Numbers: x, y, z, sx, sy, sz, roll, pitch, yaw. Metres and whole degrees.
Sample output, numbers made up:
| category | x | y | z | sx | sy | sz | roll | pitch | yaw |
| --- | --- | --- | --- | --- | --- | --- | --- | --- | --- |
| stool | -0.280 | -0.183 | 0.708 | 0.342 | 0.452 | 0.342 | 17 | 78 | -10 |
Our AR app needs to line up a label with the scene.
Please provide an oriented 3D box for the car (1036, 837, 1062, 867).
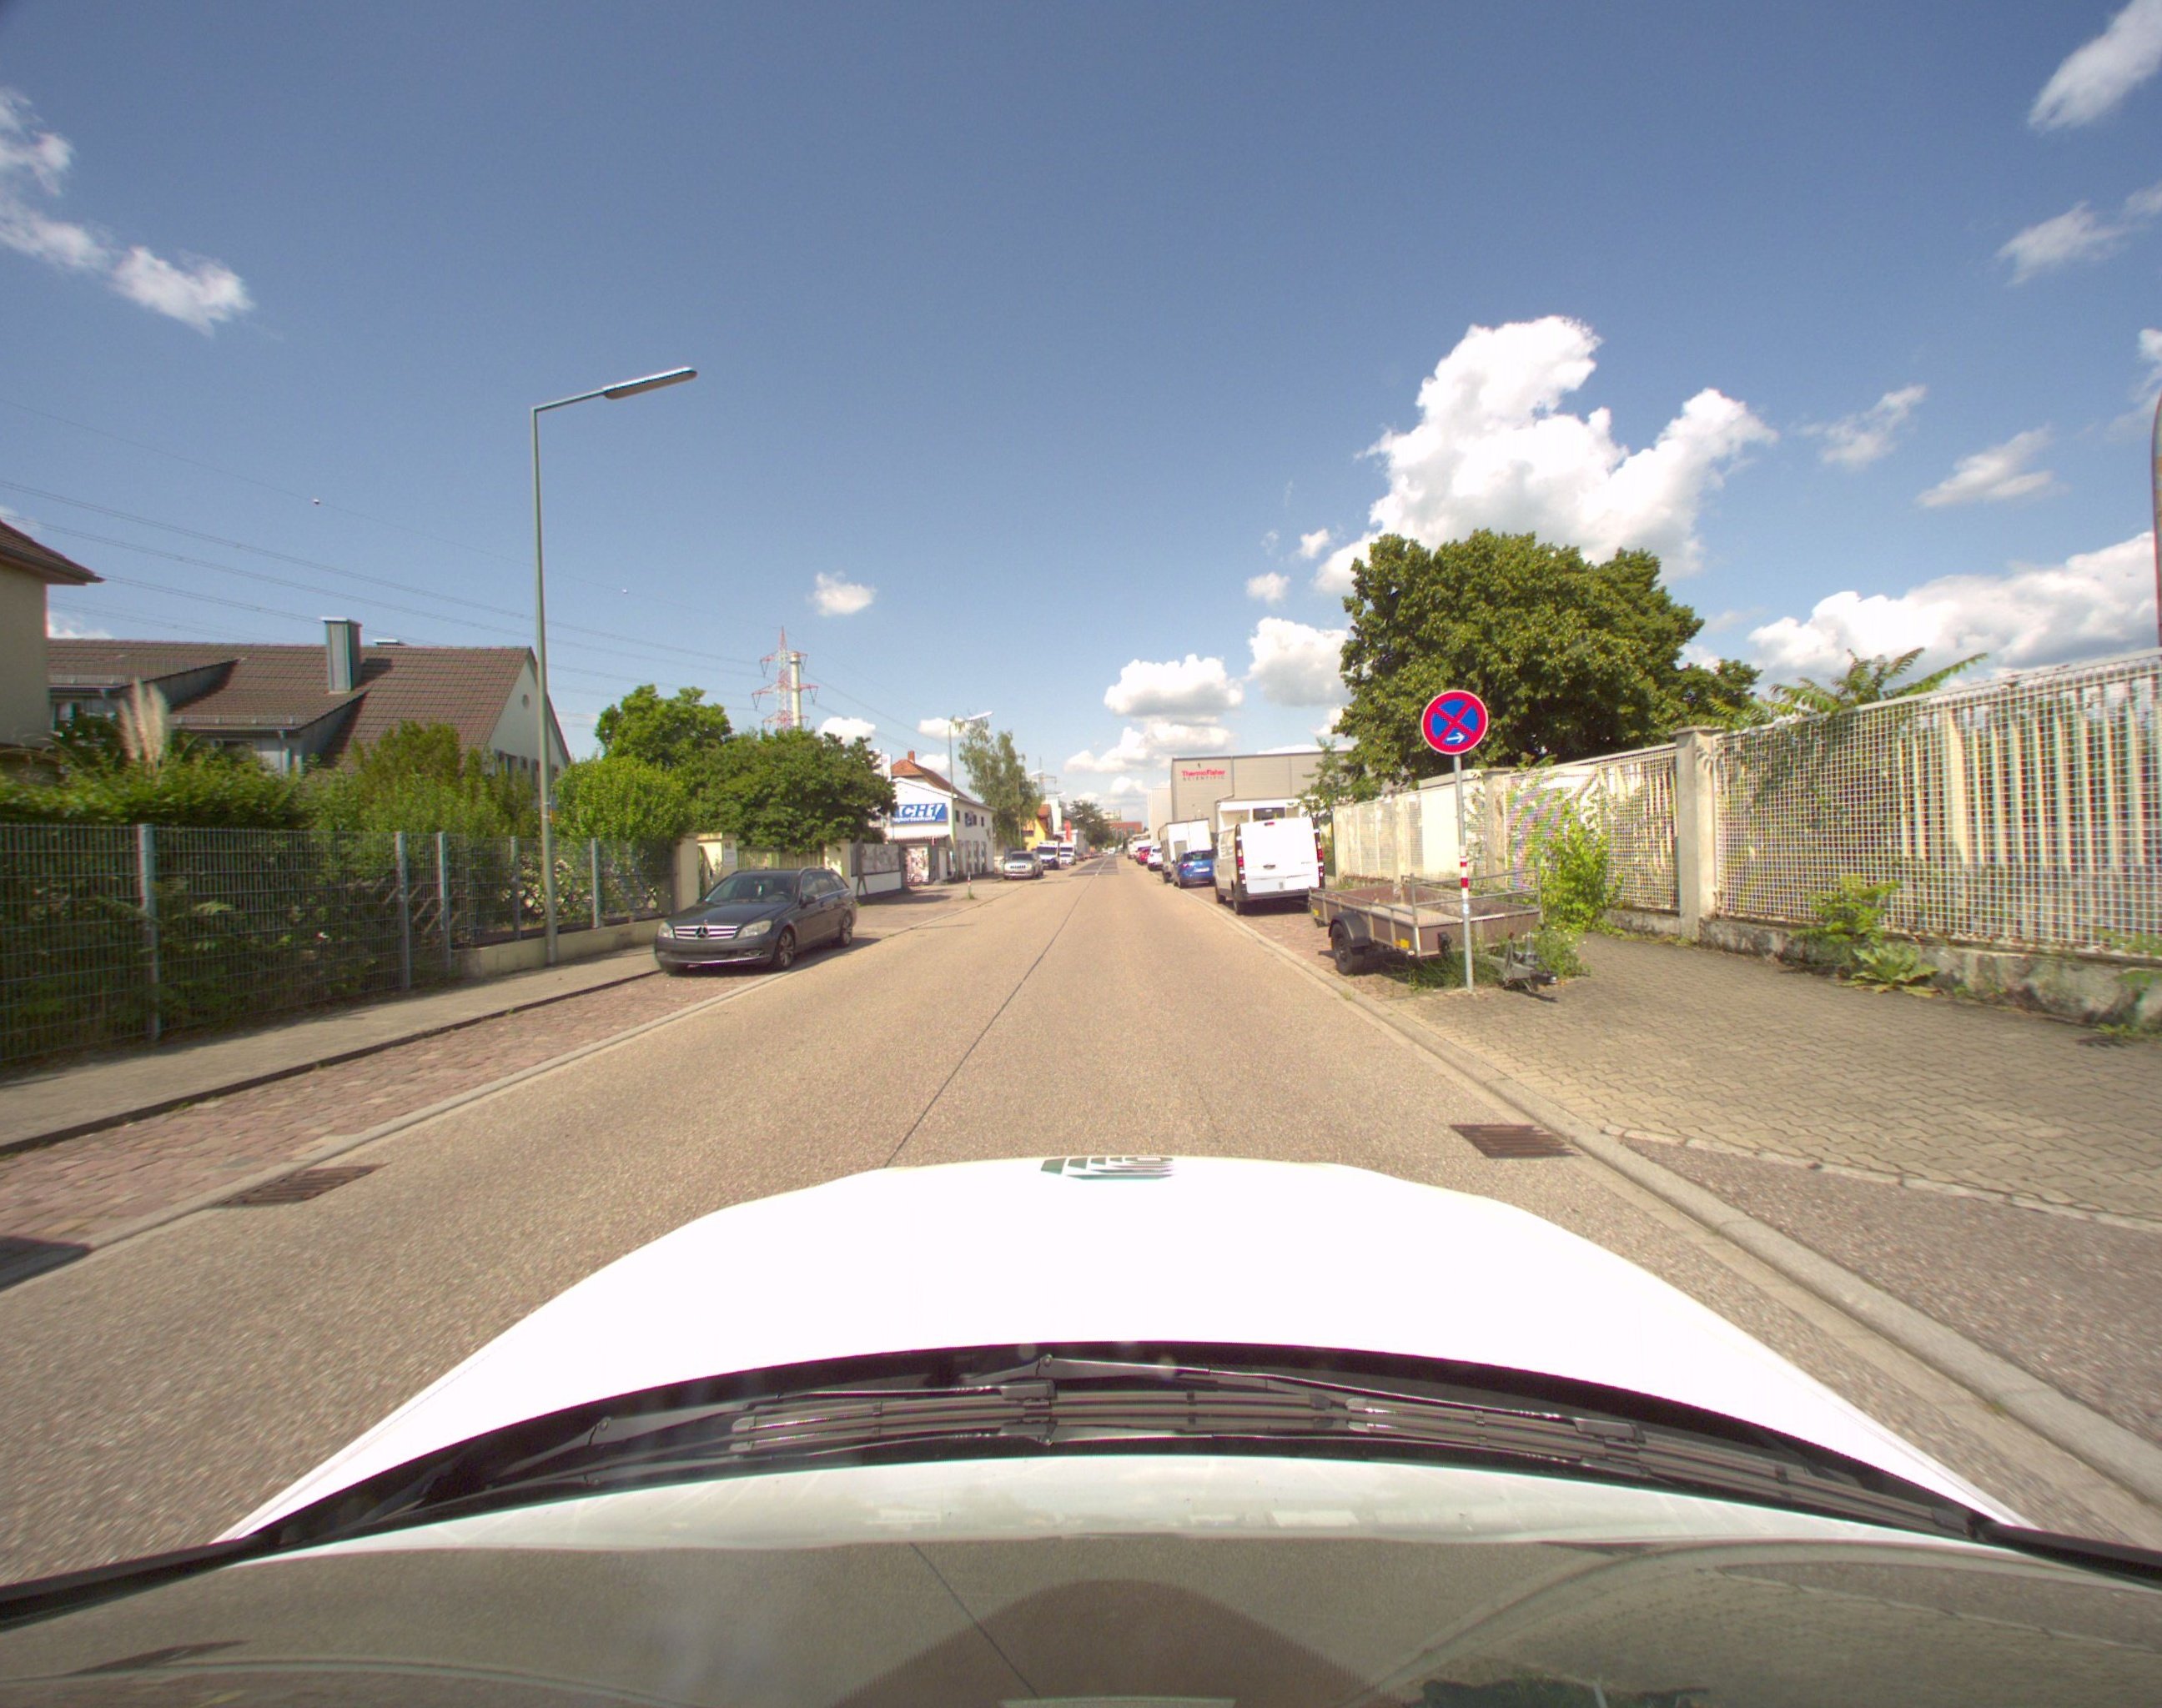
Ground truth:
| category | x | y | z | sx | sy | sz | roll | pitch | yaw |
| --- | --- | --- | --- | --- | --- | --- | --- | --- | --- |
| car | -2.799 | -0.131 | 72.812 | 2.023 | 2.557 | 6.657 | 0 | 0 | 1 |

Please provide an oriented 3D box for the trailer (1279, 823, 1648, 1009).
| category | x | y | z | sx | sy | sz | roll | pitch | yaw |
| --- | --- | --- | --- | --- | --- | --- | --- | --- | --- |
| trailer | 3.815 | 0.545 | 9.188 | 1.745 | 1.417 | 4.544 | -5 | 0 | -3 |

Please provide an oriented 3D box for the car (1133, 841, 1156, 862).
| category | x | y | z | sx | sy | sz | roll | pitch | yaw |
| --- | --- | --- | --- | --- | --- | --- | --- | --- | --- |
| car | 6.510 | -0.226 | 83.731 | 2.045 | 1.903 | 5.152 | -6 | 0 | 4 |

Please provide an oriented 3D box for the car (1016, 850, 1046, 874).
| category | x | y | z | sx | sy | sz | roll | pitch | yaw |
| --- | --- | --- | --- | --- | --- | --- | --- | --- | --- |
| car | -3.347 | 0.509 | 55.053 | 1.602 | 1.574 | 3.013 | 1 | 1 | 4 |

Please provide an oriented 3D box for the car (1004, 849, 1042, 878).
| category | x | y | z | sx | sy | sz | roll | pitch | yaw |
| --- | --- | --- | --- | --- | --- | --- | --- | --- | --- |
| car | -3.525 | 0.535 | 49.897 | 1.784 | 1.719 | 4.754 | 0 | 0 | 2 |

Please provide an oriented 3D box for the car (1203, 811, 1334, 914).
| category | x | y | z | sx | sy | sz | roll | pitch | yaw |
| --- | --- | --- | --- | --- | --- | --- | --- | --- | --- |
| car | 4.297 | 0.171 | 19.656 | 1.986 | 2.013 | 5.653 | -3 | 0 | 2 |

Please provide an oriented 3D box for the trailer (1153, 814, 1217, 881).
| category | x | y | z | sx | sy | sz | roll | pitch | yaw |
| --- | --- | --- | --- | --- | --- | --- | --- | --- | --- |
| trailer | 4.822 | -0.254 | 38.671 | 2.196 | 2.736 | 6.224 | -5 | 0 | 2 |

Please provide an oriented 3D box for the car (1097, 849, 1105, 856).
| category | x | y | z | sx | sy | sz | roll | pitch | yaw |
| --- | --- | --- | --- | --- | --- | --- | --- | --- | --- |
| car | 5.201 | -0.461 | 210.144 | 1.913 | 1.794 | 4.005 | -1 | 0 | 5 |

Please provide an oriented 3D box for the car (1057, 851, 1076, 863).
| category | x | y | z | sx | sy | sz | roll | pitch | yaw |
| --- | --- | --- | --- | --- | --- | --- | --- | --- | --- |
| car | -1.612 | 0.348 | 92.544 | 1.788 | 1.397 | 4.506 | -1 | 0 | 4 |

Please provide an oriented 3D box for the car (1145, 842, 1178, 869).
| category | x | y | z | sx | sy | sz | roll | pitch | yaw |
| --- | --- | --- | --- | --- | --- | --- | --- | --- | --- |
| car | 5.621 | 0.089 | 57.141 | 1.928 | 1.693 | 4.682 | -5 | 0 | 2 |

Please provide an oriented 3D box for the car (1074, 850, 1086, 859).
| category | x | y | z | sx | sy | sz | roll | pitch | yaw |
| --- | --- | --- | --- | --- | --- | --- | --- | --- | --- |
| car | -0.158 | 0.097 | 131.304 | 1.754 | 1.447 | 4.744 | 0 | 0 | 3 |

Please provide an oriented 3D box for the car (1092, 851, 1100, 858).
| category | x | y | z | sx | sy | sz | roll | pitch | yaw |
| --- | --- | --- | --- | --- | --- | --- | --- | --- | --- |
| car | 3.522 | 0.149 | 192.220 | 1.661 | 1.447 | 3.456 | 0 | 0 | 3 |

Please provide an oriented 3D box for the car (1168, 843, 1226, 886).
| category | x | y | z | sx | sy | sz | roll | pitch | yaw |
| --- | --- | --- | --- | --- | --- | --- | --- | --- | --- |
| car | 4.490 | 0.400 | 32.027 | 1.684 | 1.460 | 4.072 | -5 | 0 | 1 |

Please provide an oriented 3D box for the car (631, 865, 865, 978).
| category | x | y | z | sx | sy | sz | roll | pitch | yaw |
| --- | --- | --- | --- | --- | --- | --- | --- | --- | --- |
| car | -4.985 | 0.920 | 12.994 | 1.799 | 1.418 | 4.497 | 0 | 0 | 1 |

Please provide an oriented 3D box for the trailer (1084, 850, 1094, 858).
| category | x | y | z | sx | sy | sz | roll | pitch | yaw |
| --- | --- | --- | --- | --- | --- | --- | --- | --- | --- |
| trailer | 1.655 | -0.024 | 171.179 | 1.986 | 1.556 | 4.256 | -2 | 0 | 2 |

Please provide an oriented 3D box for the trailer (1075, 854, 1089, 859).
| category | x | y | z | sx | sy | sz | roll | pitch | yaw |
| --- | --- | --- | --- | --- | --- | --- | --- | --- | --- |
| trailer | 0.138 | 0.449 | 150.178 | 2.353 | 0.893 | 5.572 | 0 | 0 | 2 |

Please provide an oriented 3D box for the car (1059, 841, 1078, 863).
| category | x | y | z | sx | sy | sz | roll | pitch | yaw |
| --- | --- | --- | --- | --- | --- | --- | --- | --- | --- |
| car | -1.490 | -0.207 | 99.859 | 2.019 | 2.561 | 6.842 | -1 | 0 | 2 |

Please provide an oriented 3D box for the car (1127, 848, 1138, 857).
| category | x | y | z | sx | sy | sz | roll | pitch | yaw |
| --- | --- | --- | --- | --- | --- | --- | --- | --- | --- |
| car | 9.140 | -0.261 | 144.845 | 1.760 | 1.612 | 3.877 | -2 | 0 | 4 |

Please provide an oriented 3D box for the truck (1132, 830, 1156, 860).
| category | x | y | z | sx | sy | sz | roll | pitch | yaw |
| --- | --- | --- | --- | --- | --- | --- | --- | --- | --- |
| truck | 7.794 | -1.060 | 101.220 | 2.449 | 3.293 | 6.823 | -7 | 0 | 3 |

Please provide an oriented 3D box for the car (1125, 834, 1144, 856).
| category | x | y | z | sx | sy | sz | roll | pitch | yaw |
| --- | --- | --- | --- | --- | --- | --- | --- | --- | --- |
| car | 8.691 | -1.416 | 132.288 | 2.381 | 3.362 | 6.643 | -6 | 0 | 0 |

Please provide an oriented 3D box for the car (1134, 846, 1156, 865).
| category | x | y | z | sx | sy | sz | roll | pitch | yaw |
| --- | --- | --- | --- | --- | --- | --- | --- | --- | --- |
| car | 5.959 | 0.126 | 75.858 | 1.698 | 1.624 | 4.094 | -5 | 0 | 2 |
